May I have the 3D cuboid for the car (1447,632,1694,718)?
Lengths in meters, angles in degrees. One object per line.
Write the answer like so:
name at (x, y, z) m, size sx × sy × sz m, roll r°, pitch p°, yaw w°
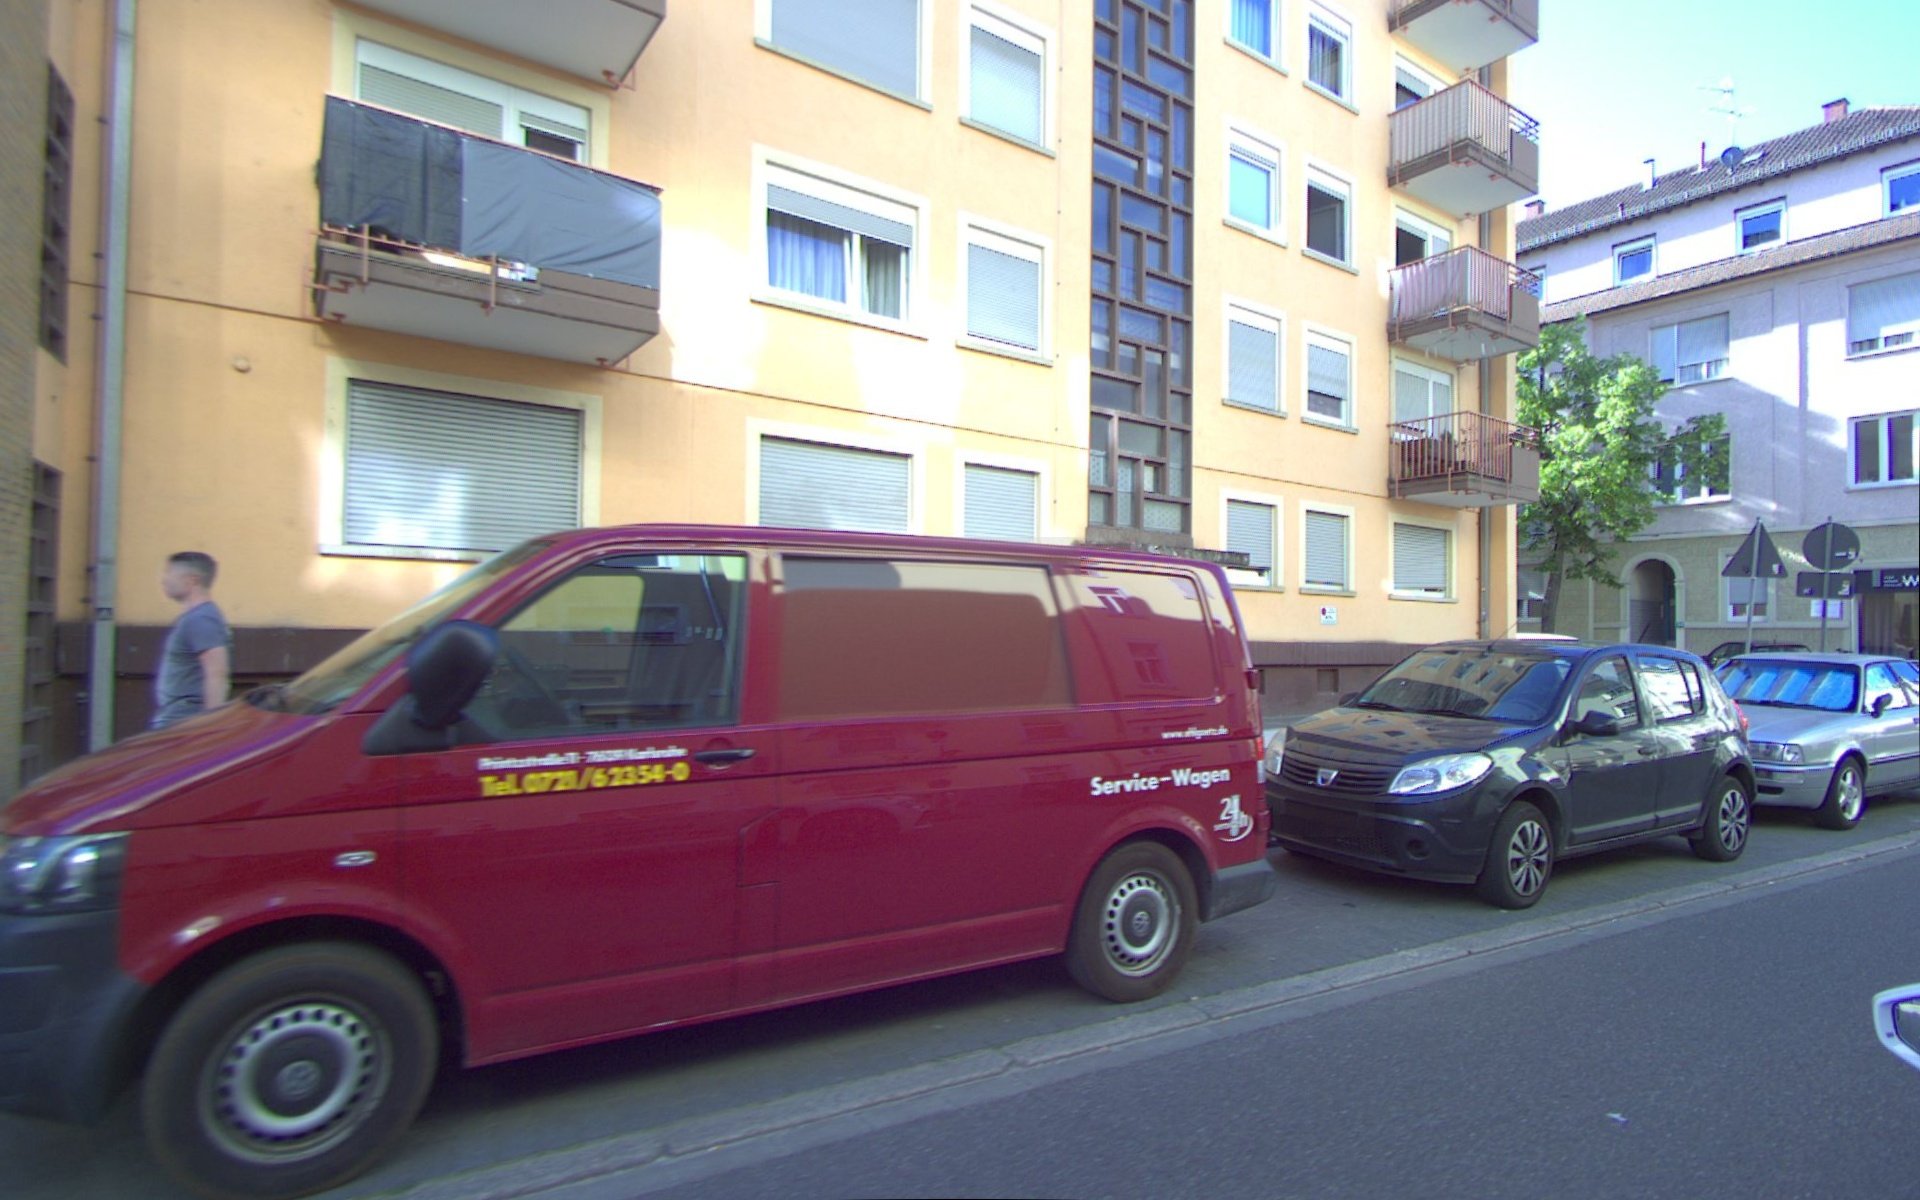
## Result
car at (13.420, 1.575, 22.333) m, size 1.711 × 1.614 × 4.402 m, roll 2°, pitch -1°, yaw -36°

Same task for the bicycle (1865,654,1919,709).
bicycle at (21.191, 1.808, 22.032) m, size 0.640 × 1.151 × 1.890 m, roll 0°, pitch 0°, yaw -28°

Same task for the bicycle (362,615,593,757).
bicycle at (-4.124, 0.718, 8.681) m, size 1.746 × 1.128 × 0.339 m, roll 2°, pitch -1°, yaw -36°

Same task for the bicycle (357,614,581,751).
bicycle at (-4.351, 0.715, 8.991) m, size 1.746 × 1.128 × 0.339 m, roll 2°, pitch -1°, yaw -36°

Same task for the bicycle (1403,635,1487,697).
bicycle at (9.010, 1.222, 18.647) m, size 1.873 × 1.078 × 0.500 m, roll 2°, pitch 1°, yaw -34°

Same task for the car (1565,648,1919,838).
car at (7.977, 1.218, 9.611) m, size 4.423 × 1.396 × 1.755 m, roll 2°, pitch -1°, yaw -29°

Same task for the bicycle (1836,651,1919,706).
bicycle at (21.417, 1.799, 23.091) m, size 0.519 × 1.150 × 1.890 m, roll 0°, pitch 0°, yaw -28°

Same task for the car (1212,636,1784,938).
car at (3.804, 1.047, 6.948) m, size 3.955 × 1.522 × 1.754 m, roll 2°, pitch -2°, yaw -32°

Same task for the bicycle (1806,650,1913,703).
bicycle at (21.899, 1.836, 24.488) m, size 0.520 × 1.150 × 1.888 m, roll 0°, pitch 0°, yaw -31°

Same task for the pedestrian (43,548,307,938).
pedestrian at (-4.135, 0.687, 5.405) m, size 0.984 × 1.841 × 0.918 m, roll 2°, pitch -1°, yaw -33°

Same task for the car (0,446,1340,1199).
car at (-0.773, 0.690, 4.215) m, size 4.878 × 1.950 × 1.754 m, roll 2°, pitch -1°, yaw -31°

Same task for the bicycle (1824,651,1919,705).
bicycle at (21.663, 1.816, 23.693) m, size 0.520 × 1.150 × 1.888 m, roll 0°, pitch 0°, yaw -31°
